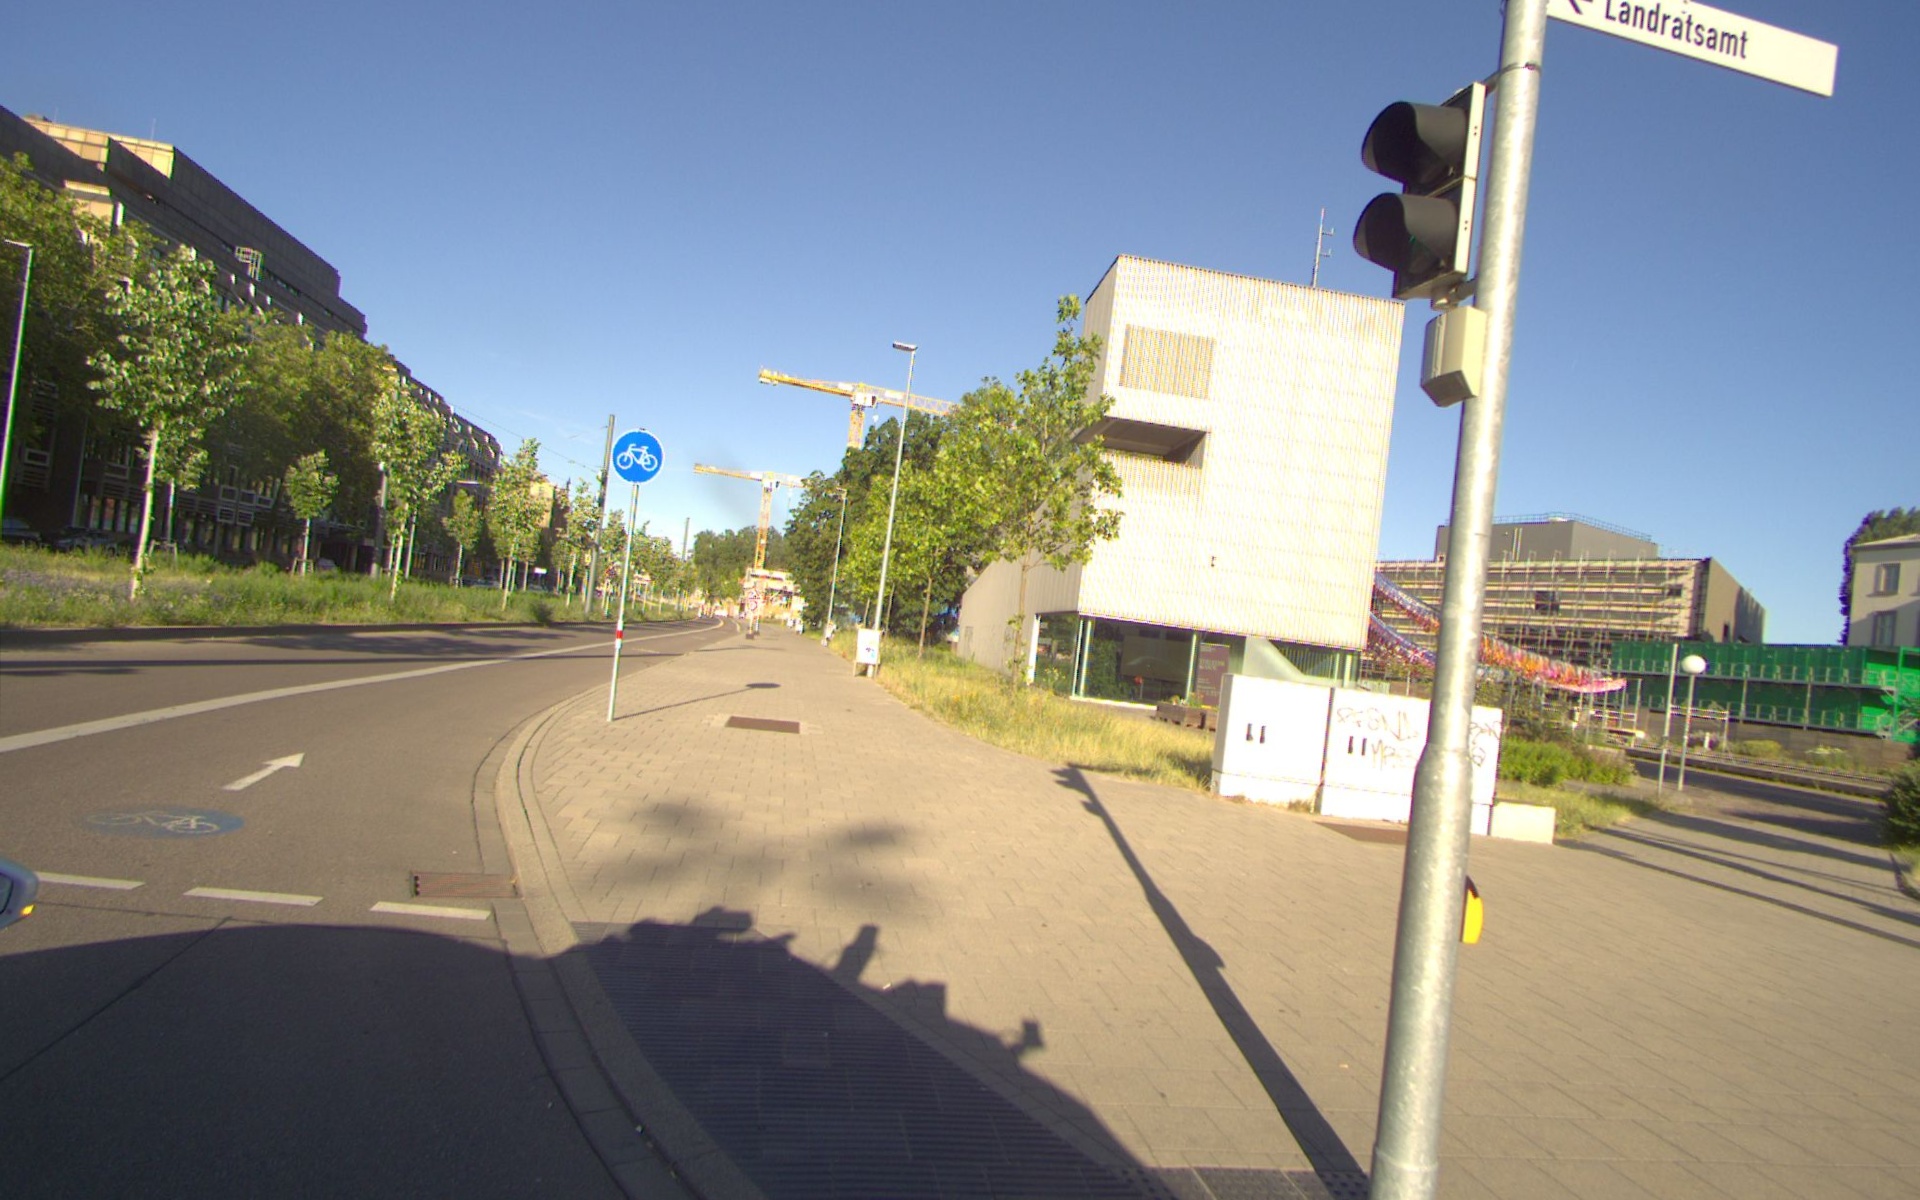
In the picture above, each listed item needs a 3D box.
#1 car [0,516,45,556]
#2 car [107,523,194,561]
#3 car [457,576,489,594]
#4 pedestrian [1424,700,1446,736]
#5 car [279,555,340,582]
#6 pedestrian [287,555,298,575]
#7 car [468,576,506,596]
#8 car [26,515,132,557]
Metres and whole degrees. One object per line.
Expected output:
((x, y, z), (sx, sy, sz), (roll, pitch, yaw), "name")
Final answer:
((-43.936, -3.033, 45.325), (1.721, 1.574, 4.616), (9, -2, -11), "car")
((-45.910, -3.244, 57.175), (1.835, 1.615, 4.273), (6, -2, -9), "car")
((-51.260, -1.602, 106.056), (1.878, 1.594, 4.293), (7, -2, -12), "car")
((19.420, 4.812, 41.139), (0.637, 1.398, 0.630), (7, 0, 31), "pedestrian")
((-41.806, -2.001, 64.746), (1.685, 1.471, 3.575), (4, -1, -4), "car")
((-54.839, -2.878, 82.664), (0.403, 1.580, 0.446), (7, -1, -9), "pedestrian")
((-45.061, -1.336, 95.918), (1.814, 1.613, 4.688), (7, -1, -8), "car")
((-45.250, -3.254, 51.801), (1.883, 1.652, 4.359), (5, -1, -8), "car")
